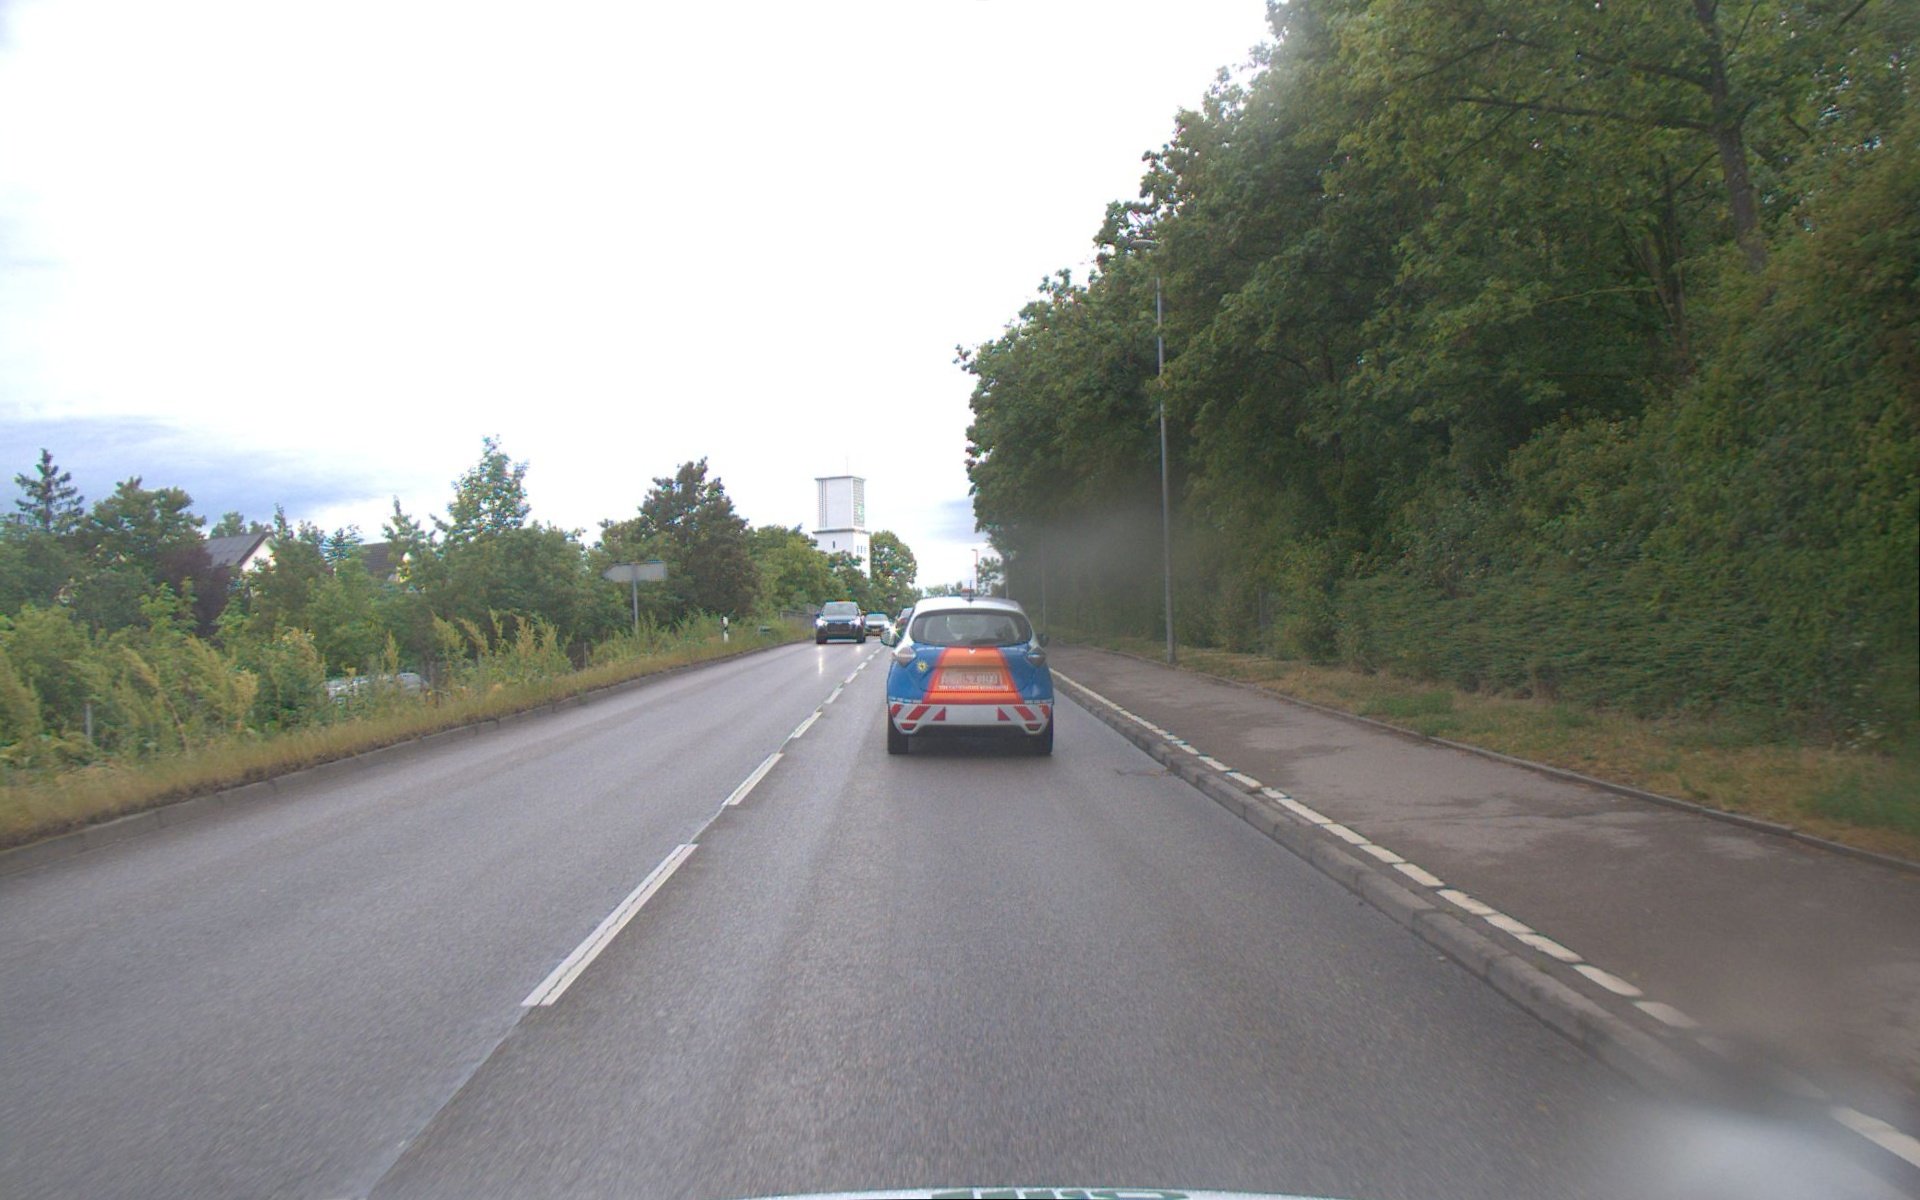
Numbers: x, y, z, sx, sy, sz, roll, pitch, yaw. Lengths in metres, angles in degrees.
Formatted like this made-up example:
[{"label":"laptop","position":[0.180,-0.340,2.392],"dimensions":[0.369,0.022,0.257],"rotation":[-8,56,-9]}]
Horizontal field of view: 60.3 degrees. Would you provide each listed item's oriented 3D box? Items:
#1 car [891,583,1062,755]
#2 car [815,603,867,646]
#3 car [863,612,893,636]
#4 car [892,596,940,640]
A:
[{"label":"car","position":[0.119,0.701,17.688],"dimensions":[1.624,1.621,3.567],"rotation":[-1,-1,-1]},{"label":"car","position":[-4.717,0.958,66.190],"dimensions":[1.831,1.613,4.413],"rotation":[-1,0,-1]},{"label":"car","position":[-5.367,1.550,108.566],"dimensions":[1.824,1.530,4.726],"rotation":[-1,0,-2]},{"label":"car","position":[-1.747,0.725,65.108],"dimensions":[1.766,1.618,3.561],"rotation":[-2,-1,-3]}]
